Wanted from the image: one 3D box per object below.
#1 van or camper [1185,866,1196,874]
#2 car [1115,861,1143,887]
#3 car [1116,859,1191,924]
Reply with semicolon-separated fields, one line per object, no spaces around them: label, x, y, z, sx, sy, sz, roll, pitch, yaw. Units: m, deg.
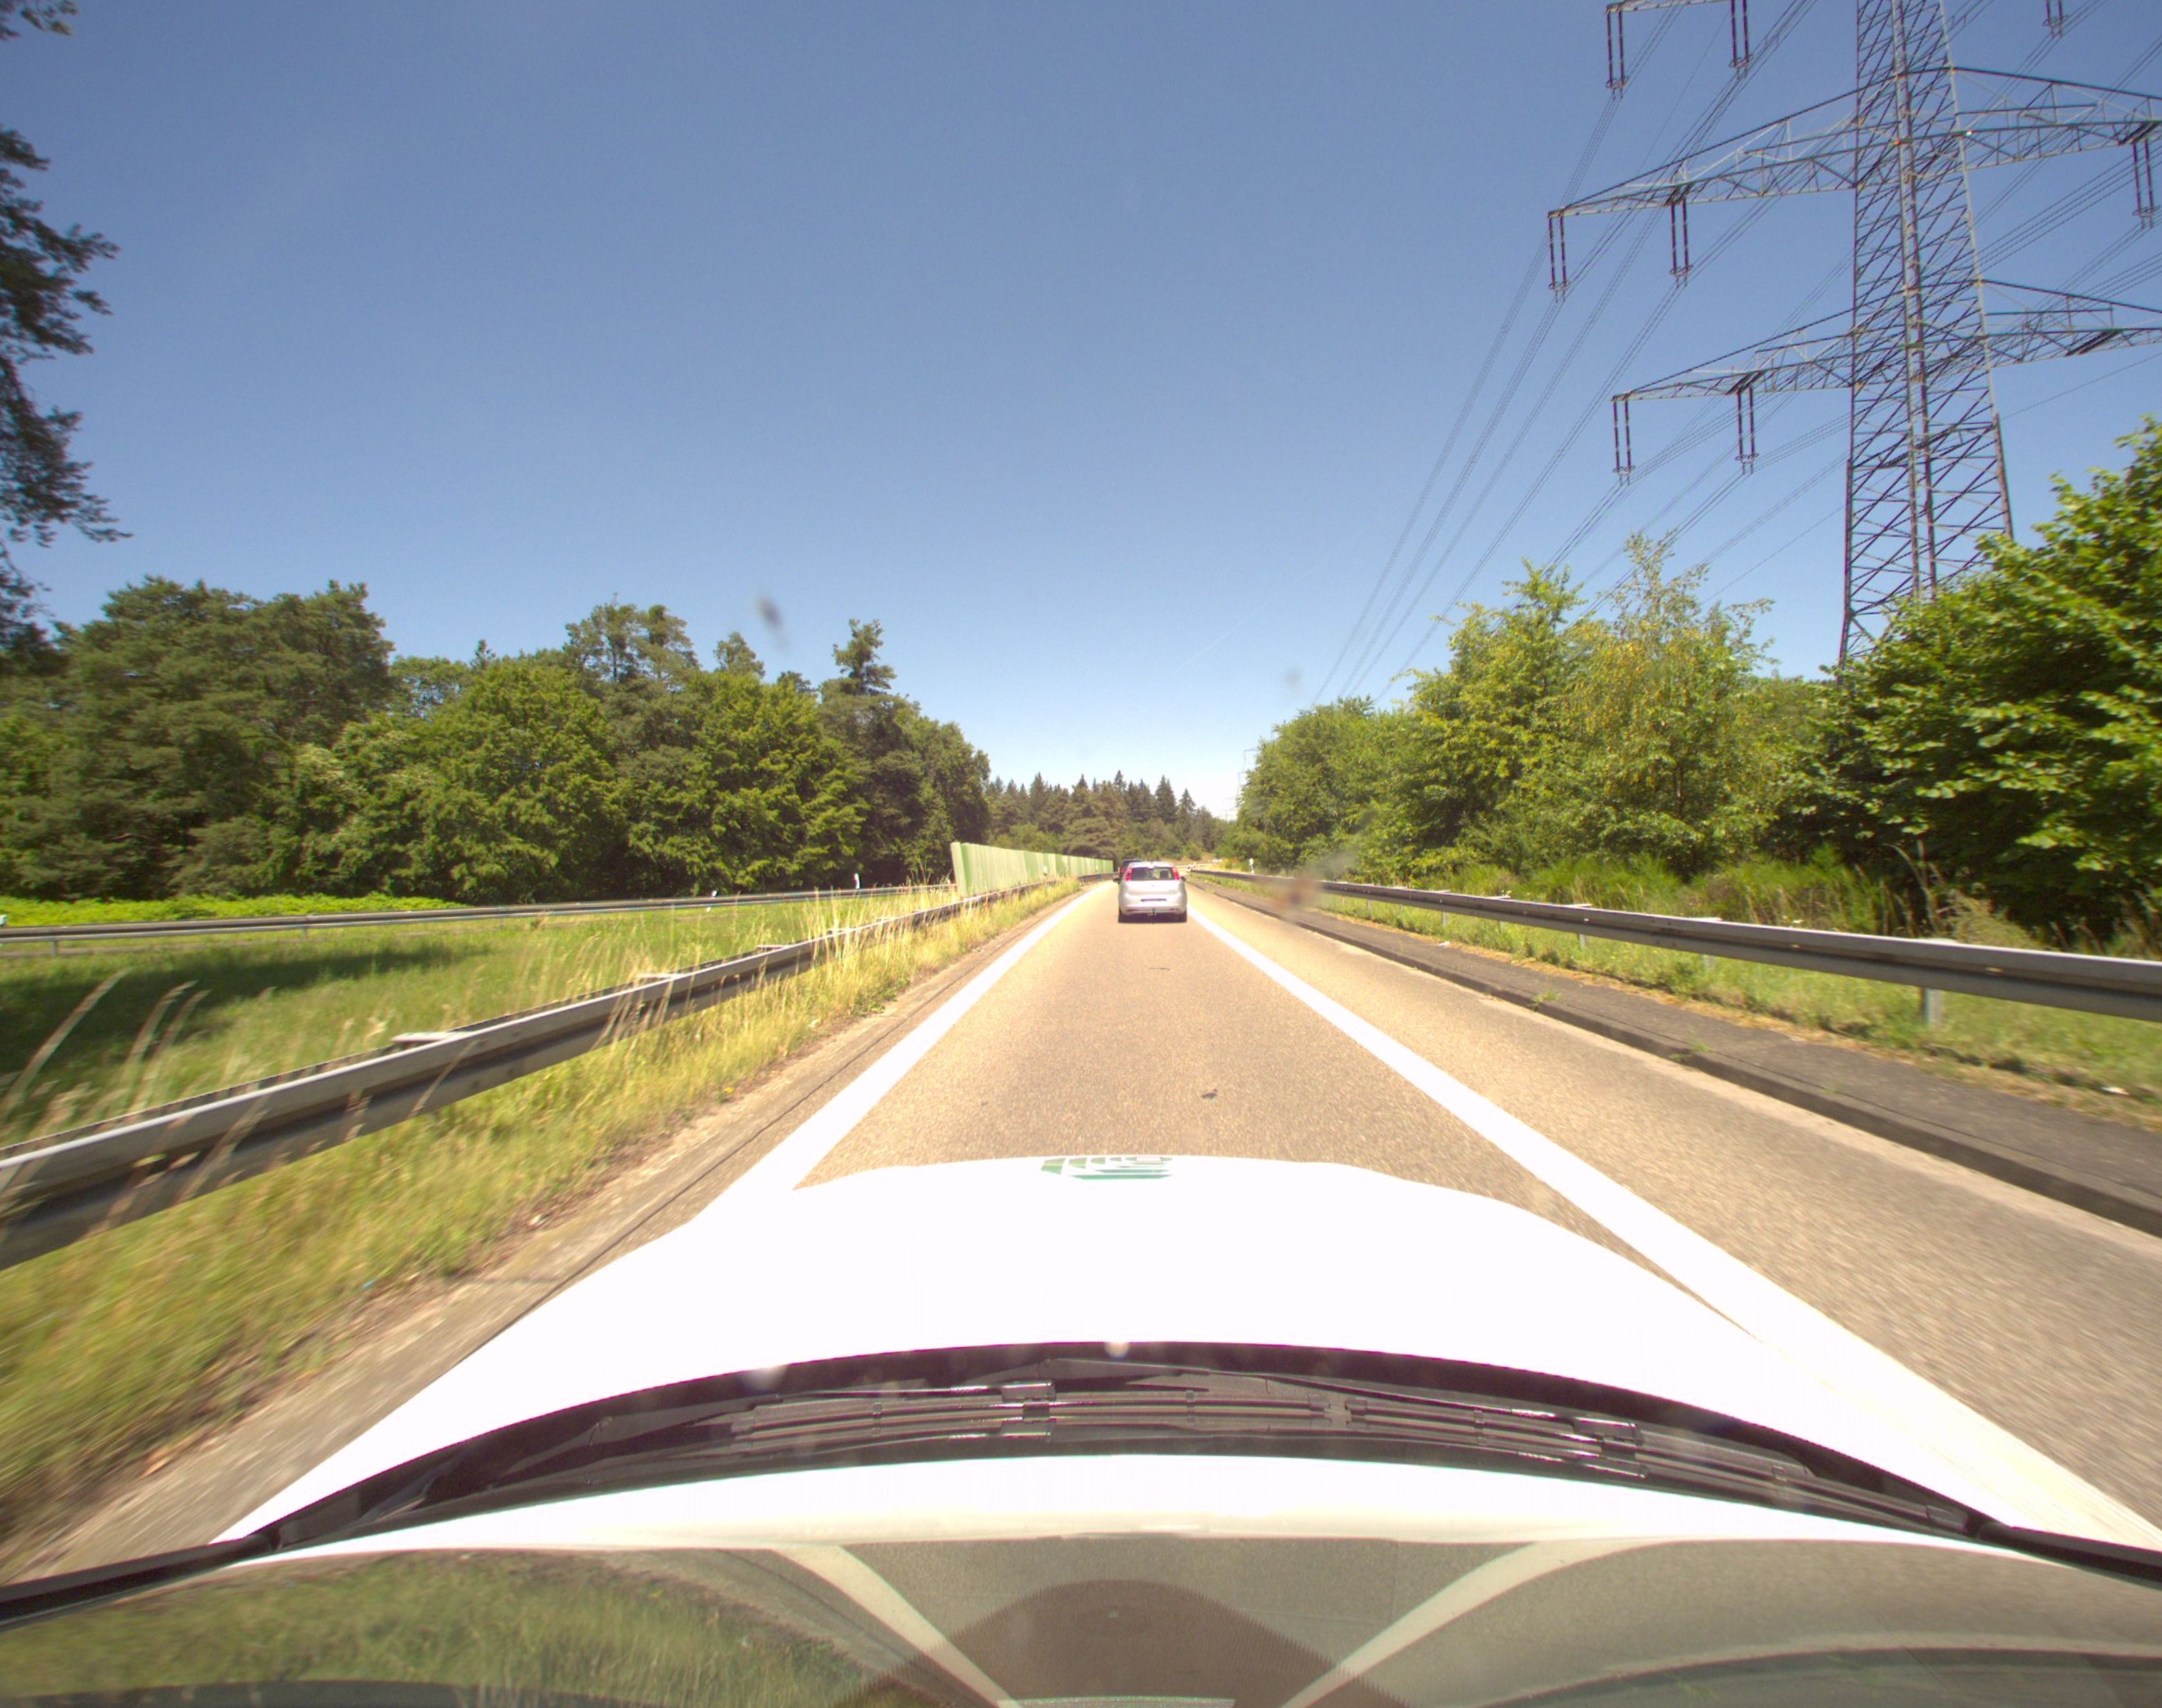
van or camper;23.455;3.392;174.348;1.794;1.486;4.016;-2;0;15
car;3.227;1.326;55.055;1.700;1.676;3.398;-1;0;1
car;1.767;0.892;20.672;1.699;1.482;3.400;-1;0;2
